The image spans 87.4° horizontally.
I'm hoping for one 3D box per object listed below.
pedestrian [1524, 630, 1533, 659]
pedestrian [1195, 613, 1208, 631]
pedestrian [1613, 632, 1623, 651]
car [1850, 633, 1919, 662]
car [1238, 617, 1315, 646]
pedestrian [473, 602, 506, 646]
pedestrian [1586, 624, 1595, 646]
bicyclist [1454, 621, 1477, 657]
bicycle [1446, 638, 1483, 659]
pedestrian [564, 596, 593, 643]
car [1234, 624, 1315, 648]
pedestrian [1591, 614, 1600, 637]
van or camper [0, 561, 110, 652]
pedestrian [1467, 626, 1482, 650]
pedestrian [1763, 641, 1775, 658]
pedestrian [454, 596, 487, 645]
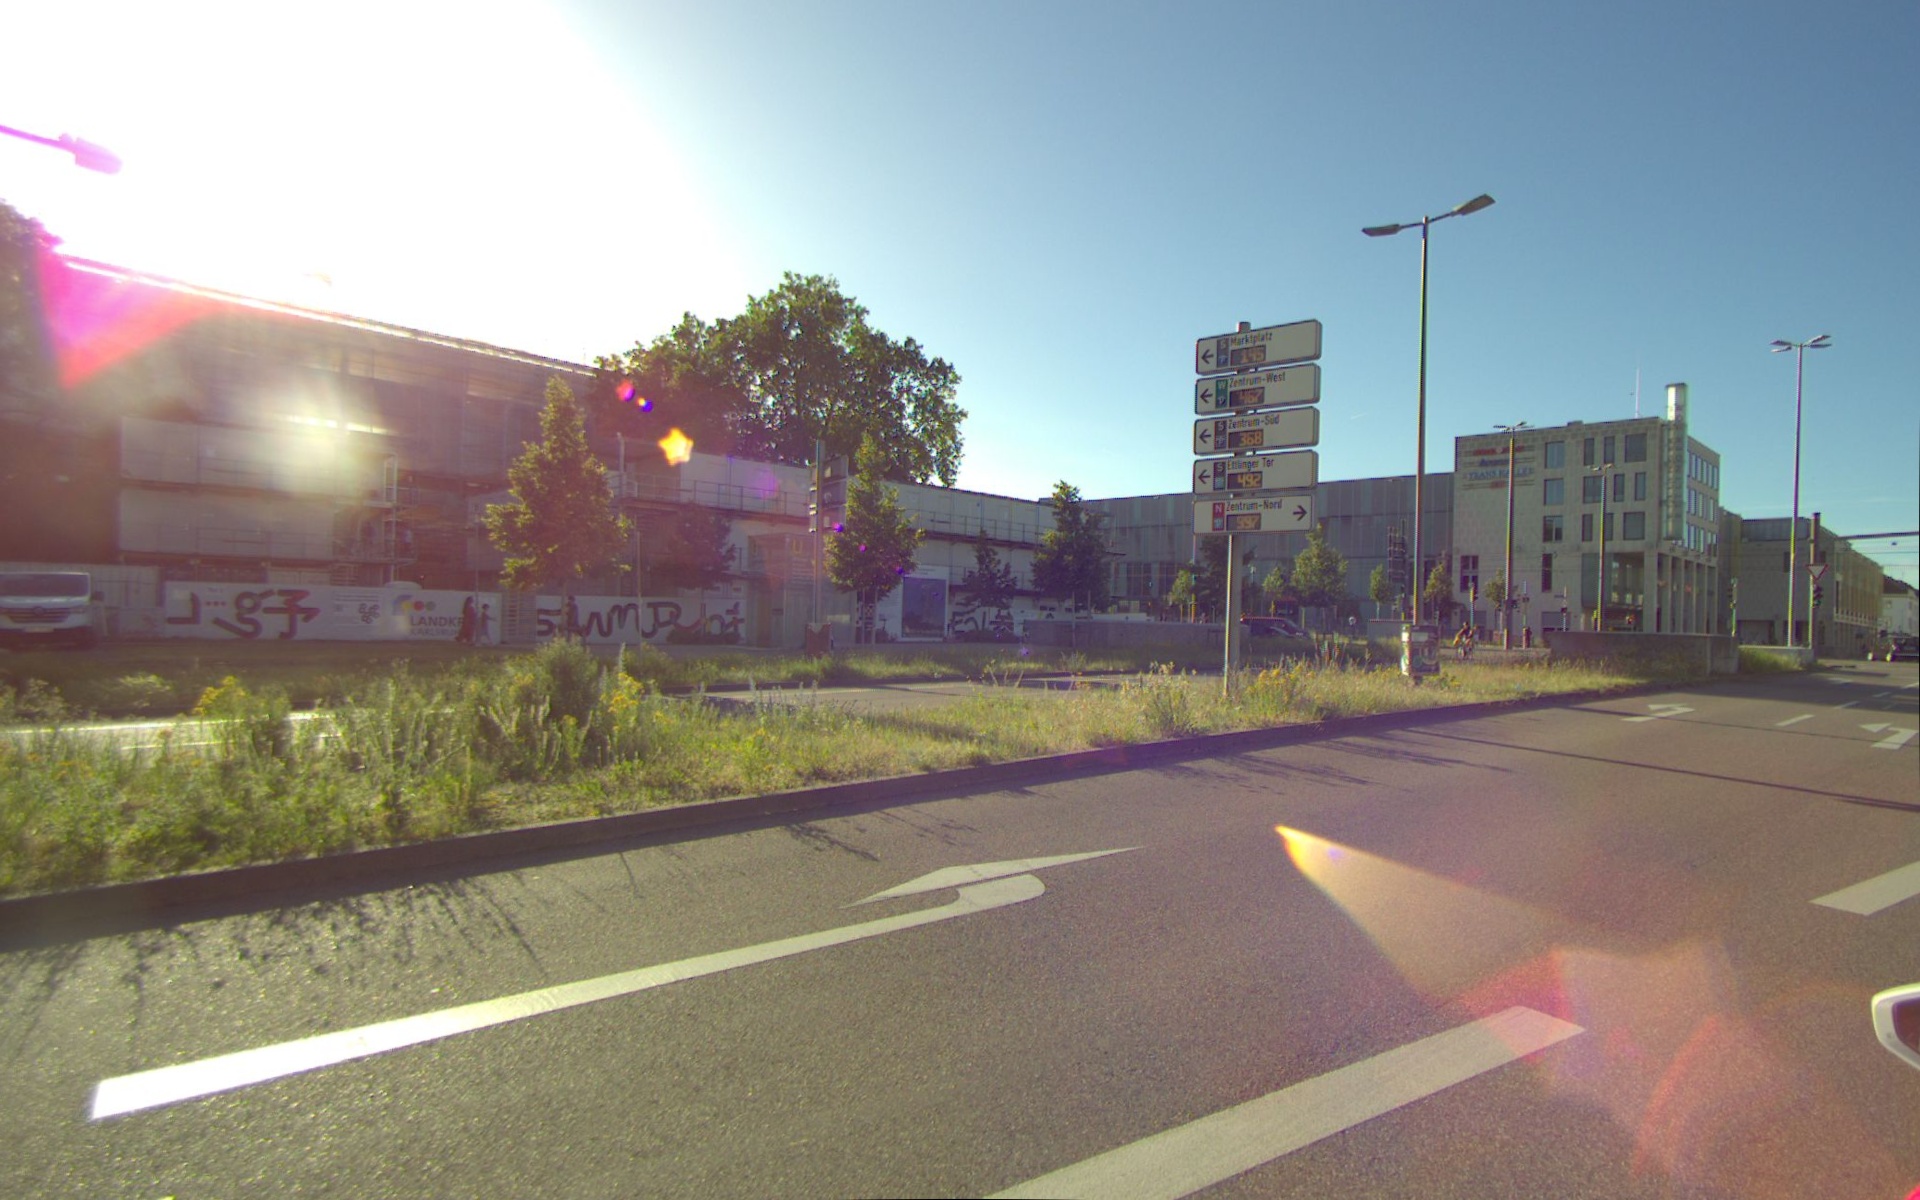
[{"bbox_3d":[40.620,3.202,71.767,0.507,2.040,0.623,1,-1,35],"label":"pedestrian"},{"bbox_3d":[20.145,1.828,83.768,0.791,1.522,0.721,1,-1,41],"label":"pedestrian"},{"bbox_3d":[59.205,3.731,90.349,0.649,1.629,0.617,2,-1,-43],"label":"pedestrian"},{"bbox_3d":[55.701,2.835,60.360,1.746,1.584,3.791,1,-1,15],"label":"car"},{"bbox_3d":[21.524,2.115,68.399,4.586,1.834,1.863,0,-3,41],"label":"car"},{"bbox_3d":[-15.281,0.783,32.631,0.830,1.396,0.574,1,-1,-44],"label":"pedestrian"},{"bbox_3d":[58.179,3.246,92.642,0.615,2.040,0.514,1,-1,40],"label":"pedestrian"},{"bbox_3d":[21.758,1.685,43.230,0.674,1.508,0.603,1,0,-37],"label":"bicyclist"},{"bbox_3d":[21.690,2.091,43.181,1.933,0.873,0.607,2,-1,-37],"label":"bicycle"},{"bbox_3d":[-14.154,0.735,37.252,0.830,1.711,0.573,1,0,-44],"label":"pedestrian"},{"bbox_3d":[20.035,2.290,64.049,4.586,1.392,1.863,0,-3,41],"label":"car"},{"bbox_3d":[58.534,2.361,92.542,0.615,2.040,0.514,1,-1,40],"label":"pedestrian"},{"bbox_3d":[-23.403,0.195,25.831,2.240,2.040,5.615,4,-3,-40],"label":"van or camper"},{"bbox_3d":[33.839,2.483,66.084,0.713,1.522,0.799,1,-1,39],"label":"pedestrian"},{"bbox_3d":[80.519,4.901,100.007,0.729,1.629,0.625,1,-1,21],"label":"pedestrian"},{"bbox_3d":[-16.249,0.681,33.357,0.830,1.579,0.574,1,0,-44],"label":"pedestrian"}]
